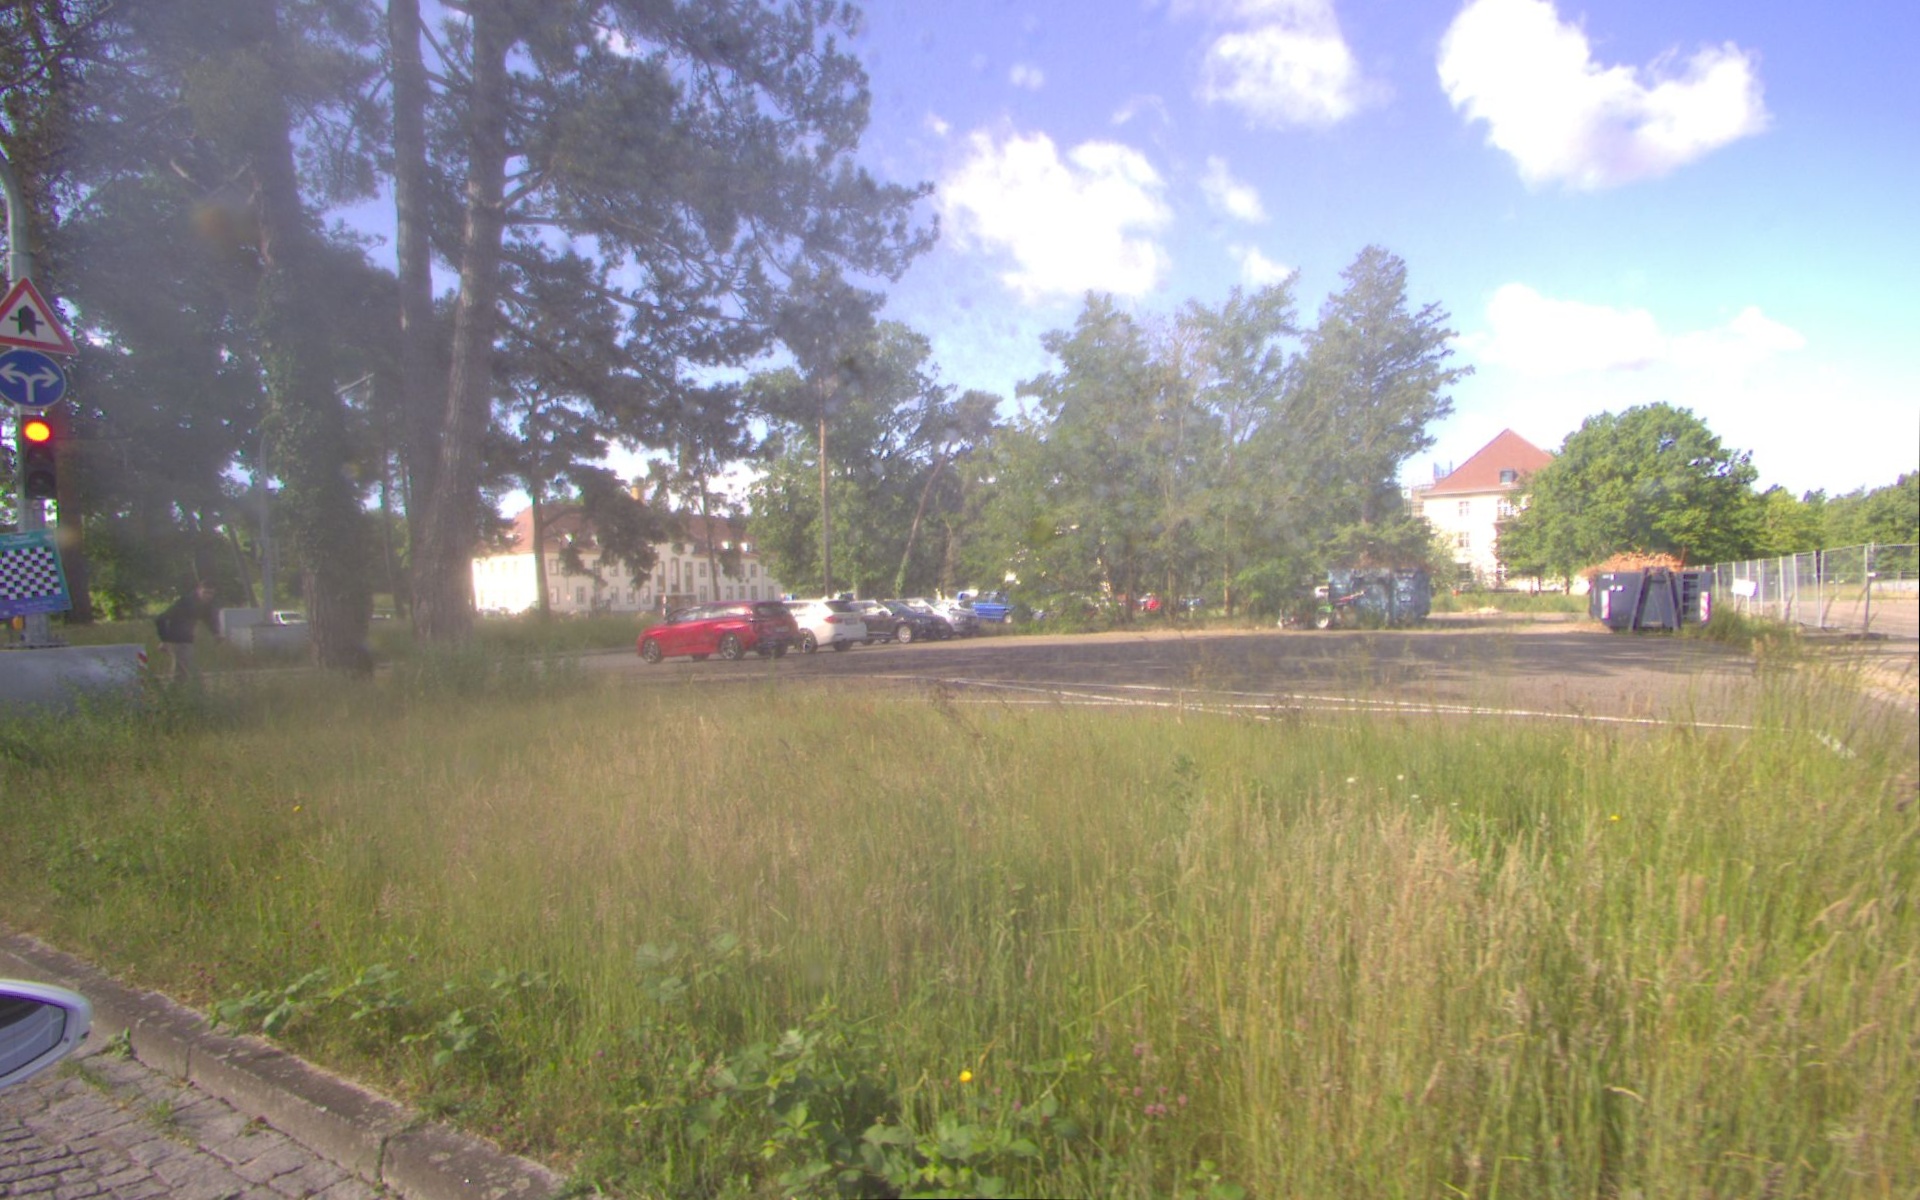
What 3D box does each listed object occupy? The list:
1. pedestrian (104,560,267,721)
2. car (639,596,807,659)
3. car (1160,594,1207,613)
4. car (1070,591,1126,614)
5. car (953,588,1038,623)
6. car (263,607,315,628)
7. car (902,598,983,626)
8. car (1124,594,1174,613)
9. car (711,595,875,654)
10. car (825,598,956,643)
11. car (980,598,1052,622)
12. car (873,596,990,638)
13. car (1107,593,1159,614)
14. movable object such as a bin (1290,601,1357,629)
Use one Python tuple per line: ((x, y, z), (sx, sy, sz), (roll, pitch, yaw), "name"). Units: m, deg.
((-9.300, 0.459, 12.090), (1.042, 1.820, 1.171), (-1, 1, -8), "pedestrian")
((-5.907, 0.697, 24.785), (4.071, 1.417, 1.652), (-2, -1, 32), "car")
((19.578, 0.336, 87.612), (3.681, 1.568, 1.705), (-1, -1, 32), "car")
((9.940, 0.204, 72.385), (3.639, 1.568, 1.705), (-1, -1, 32), "car")
((2.107, 0.376, 59.278), (4.676, 1.973, 1.982), (-1, -1, 32), "car")
((-53.087, 1.359, 79.209), (4.102, 1.603, 1.823), (-1, 1, 32), "car")
((-0.967, 0.690, 55.158), (4.180, 1.487, 1.720), (-1, -1, 32), "car")
((15.594, 0.303, 82.700), (3.681, 1.568, 1.705), (-1, -1, 32), "car")
((-4.572, 0.671, 27.276), (4.180, 1.396, 1.776), (-3, 0, 30), "car")
((-2.243, 0.647, 31.922), (3.988, 1.332, 1.612), (-1, 1, 33), "car")
((3.431, 0.624, 61.601), (4.180, 1.443, 1.720), (-1, -1, 32), "car")
((-0.997, 0.588, 34.504), (3.740, 1.390, 1.720), (-1, -1, 34), "car")
((13.817, 0.280, 79.997), (3.681, 1.568, 1.705), (-1, -1, 32), "car")
((10.396, 0.431, 28.611), (1.696, 0.763, 1.143), (-1, 0, 25), "movable object such as a bin")
